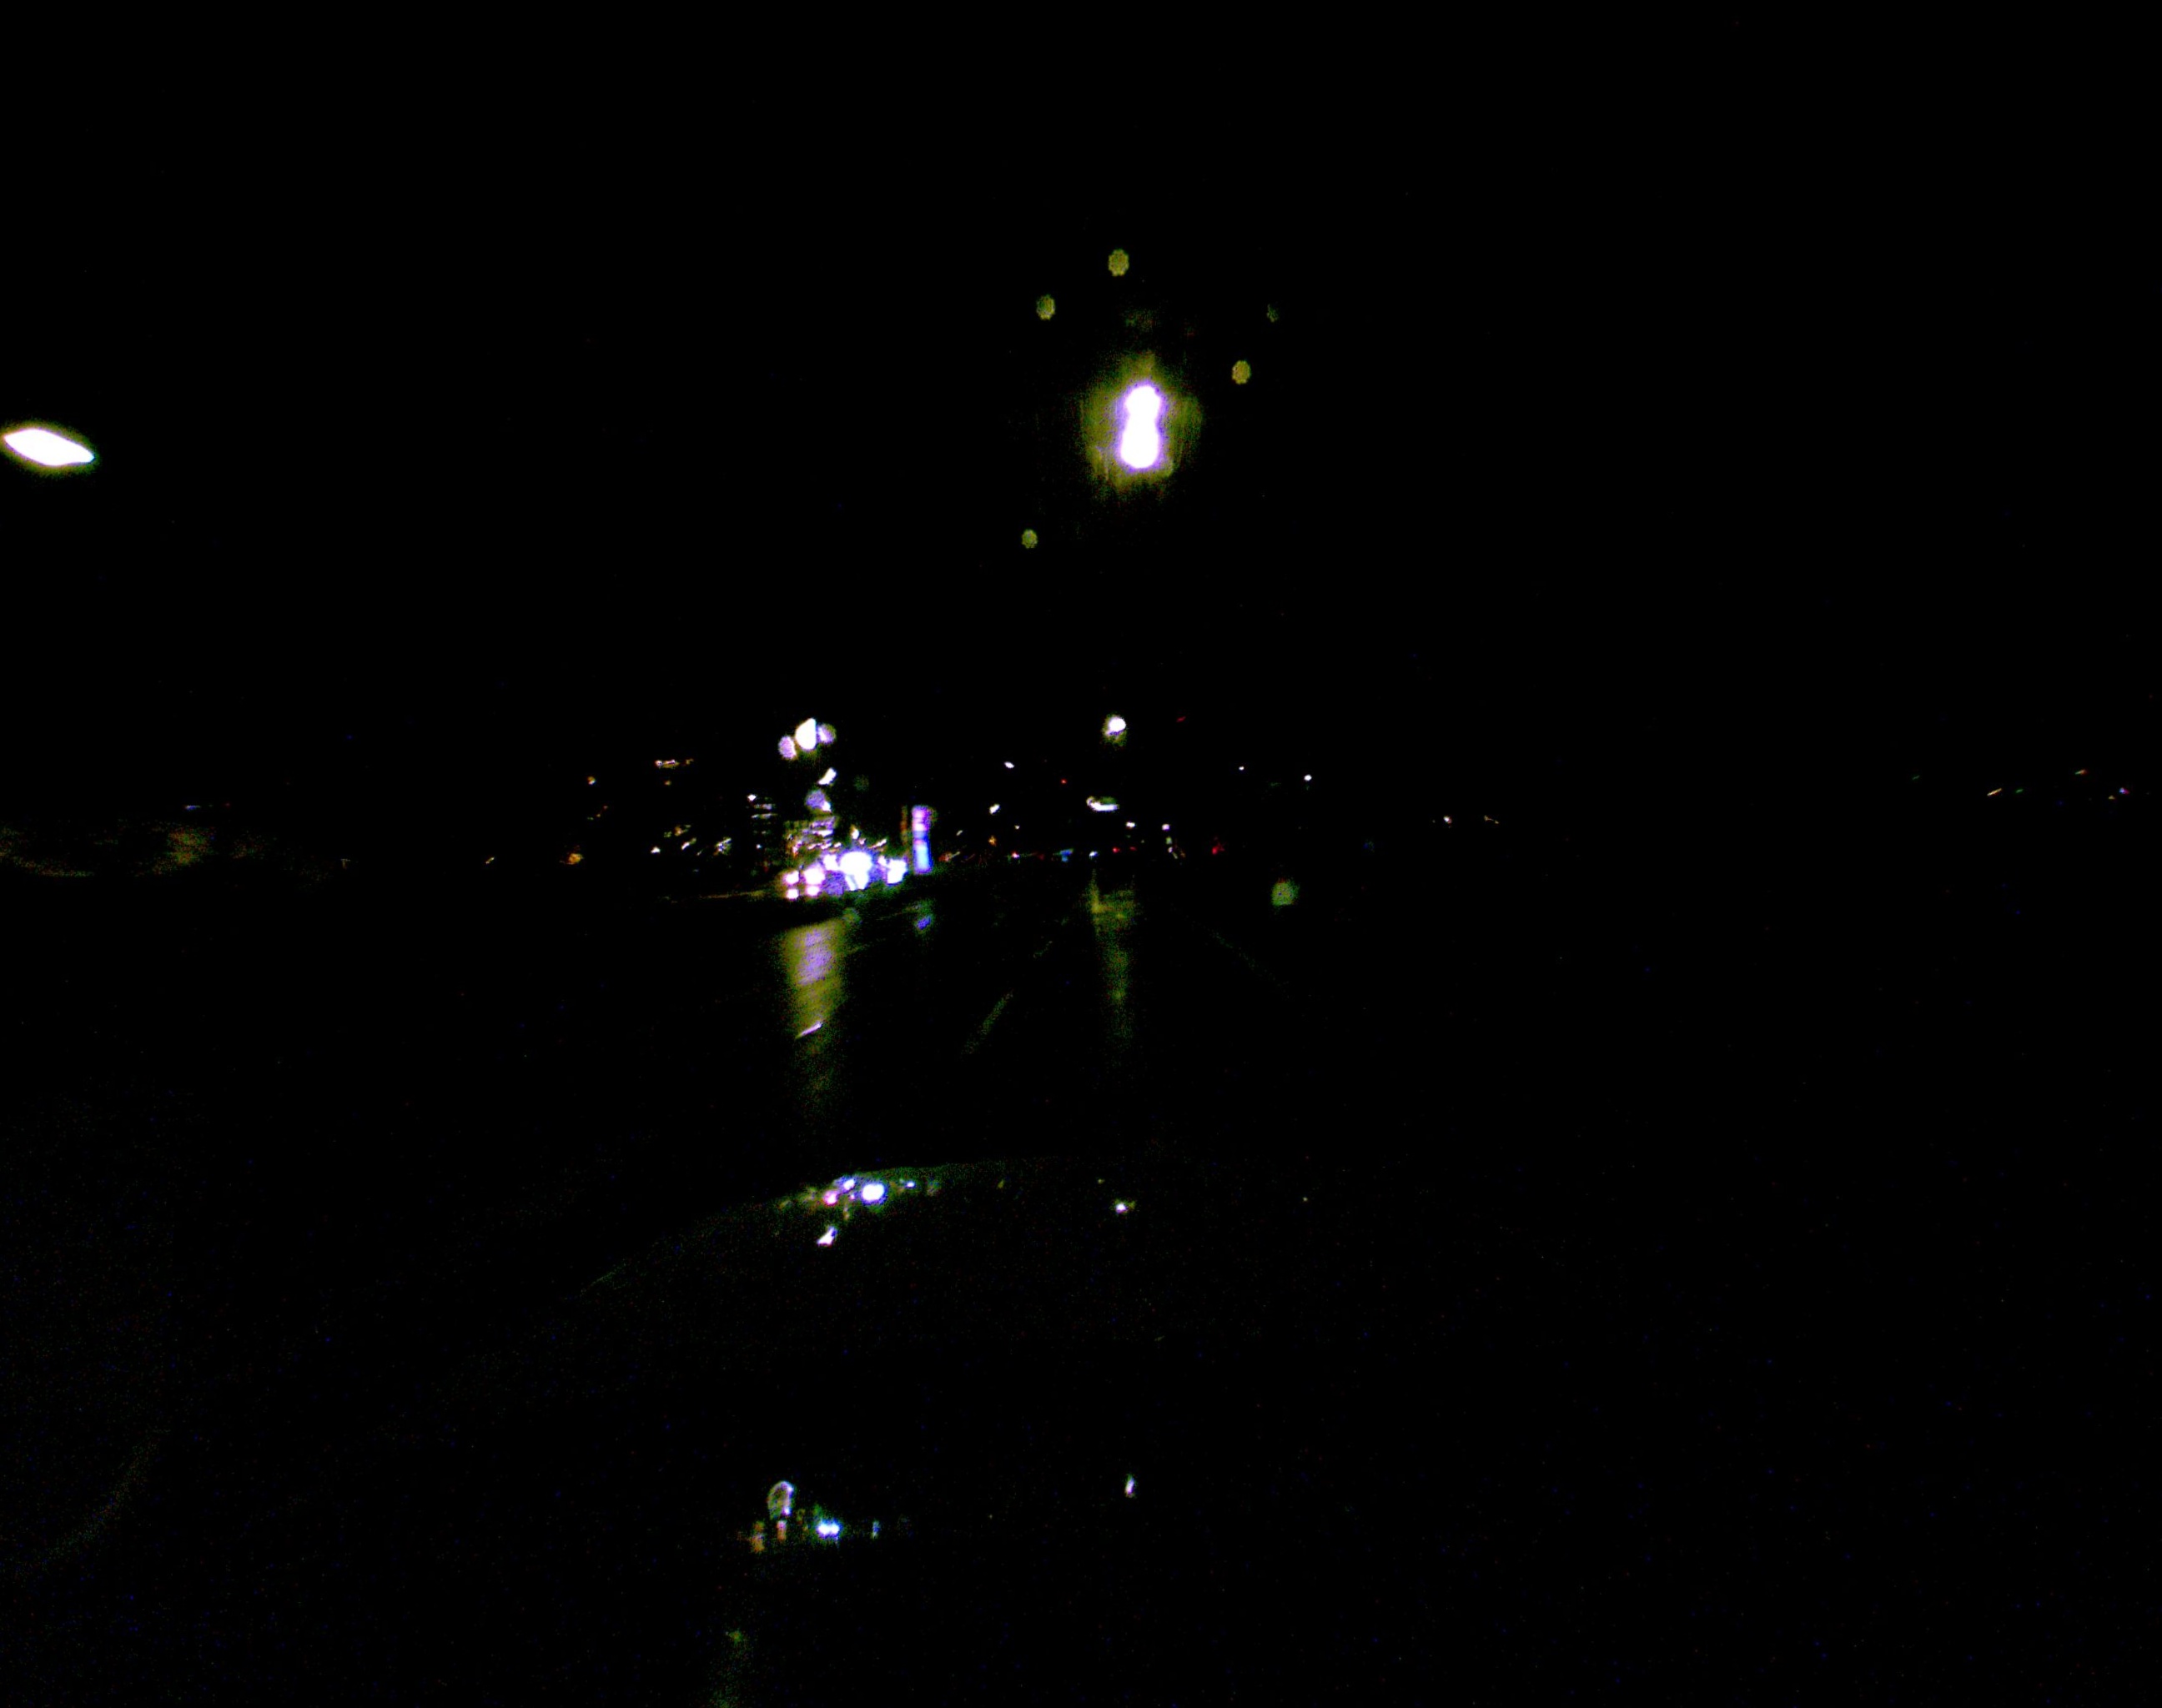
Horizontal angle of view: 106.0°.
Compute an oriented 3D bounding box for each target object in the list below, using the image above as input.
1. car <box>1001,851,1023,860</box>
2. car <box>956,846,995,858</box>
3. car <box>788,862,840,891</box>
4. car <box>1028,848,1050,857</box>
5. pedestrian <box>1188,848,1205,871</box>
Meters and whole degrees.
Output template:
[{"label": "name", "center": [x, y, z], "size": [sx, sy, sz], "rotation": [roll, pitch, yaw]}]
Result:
[{"label": "car", "center": [-12.386, 0.247, 146.227], "size": [3.981, 1.616, 1.833], "rotation": [-1, 0, -6]}, {"label": "car", "center": [-18.670, -0.403, 144.282], "size": [6.320, 2.089, 2.496], "rotation": [-1, 0, -23]}, {"label": "car", "center": [-17.483, 1.429, 53.623], "size": [1.822, 1.713, 4.443], "rotation": [-1, 0, 2]}, {"label": "car", "center": [-7.484, -0.284, 145.755], "size": [3.940, 1.578, 1.736], "rotation": [-1, 0, -1]}, {"label": "pedestrian", "center": [9.433, 0.435, 66.758], "size": [1.223, 1.794, 1.490], "rotation": [-1, 0, 1]}]
